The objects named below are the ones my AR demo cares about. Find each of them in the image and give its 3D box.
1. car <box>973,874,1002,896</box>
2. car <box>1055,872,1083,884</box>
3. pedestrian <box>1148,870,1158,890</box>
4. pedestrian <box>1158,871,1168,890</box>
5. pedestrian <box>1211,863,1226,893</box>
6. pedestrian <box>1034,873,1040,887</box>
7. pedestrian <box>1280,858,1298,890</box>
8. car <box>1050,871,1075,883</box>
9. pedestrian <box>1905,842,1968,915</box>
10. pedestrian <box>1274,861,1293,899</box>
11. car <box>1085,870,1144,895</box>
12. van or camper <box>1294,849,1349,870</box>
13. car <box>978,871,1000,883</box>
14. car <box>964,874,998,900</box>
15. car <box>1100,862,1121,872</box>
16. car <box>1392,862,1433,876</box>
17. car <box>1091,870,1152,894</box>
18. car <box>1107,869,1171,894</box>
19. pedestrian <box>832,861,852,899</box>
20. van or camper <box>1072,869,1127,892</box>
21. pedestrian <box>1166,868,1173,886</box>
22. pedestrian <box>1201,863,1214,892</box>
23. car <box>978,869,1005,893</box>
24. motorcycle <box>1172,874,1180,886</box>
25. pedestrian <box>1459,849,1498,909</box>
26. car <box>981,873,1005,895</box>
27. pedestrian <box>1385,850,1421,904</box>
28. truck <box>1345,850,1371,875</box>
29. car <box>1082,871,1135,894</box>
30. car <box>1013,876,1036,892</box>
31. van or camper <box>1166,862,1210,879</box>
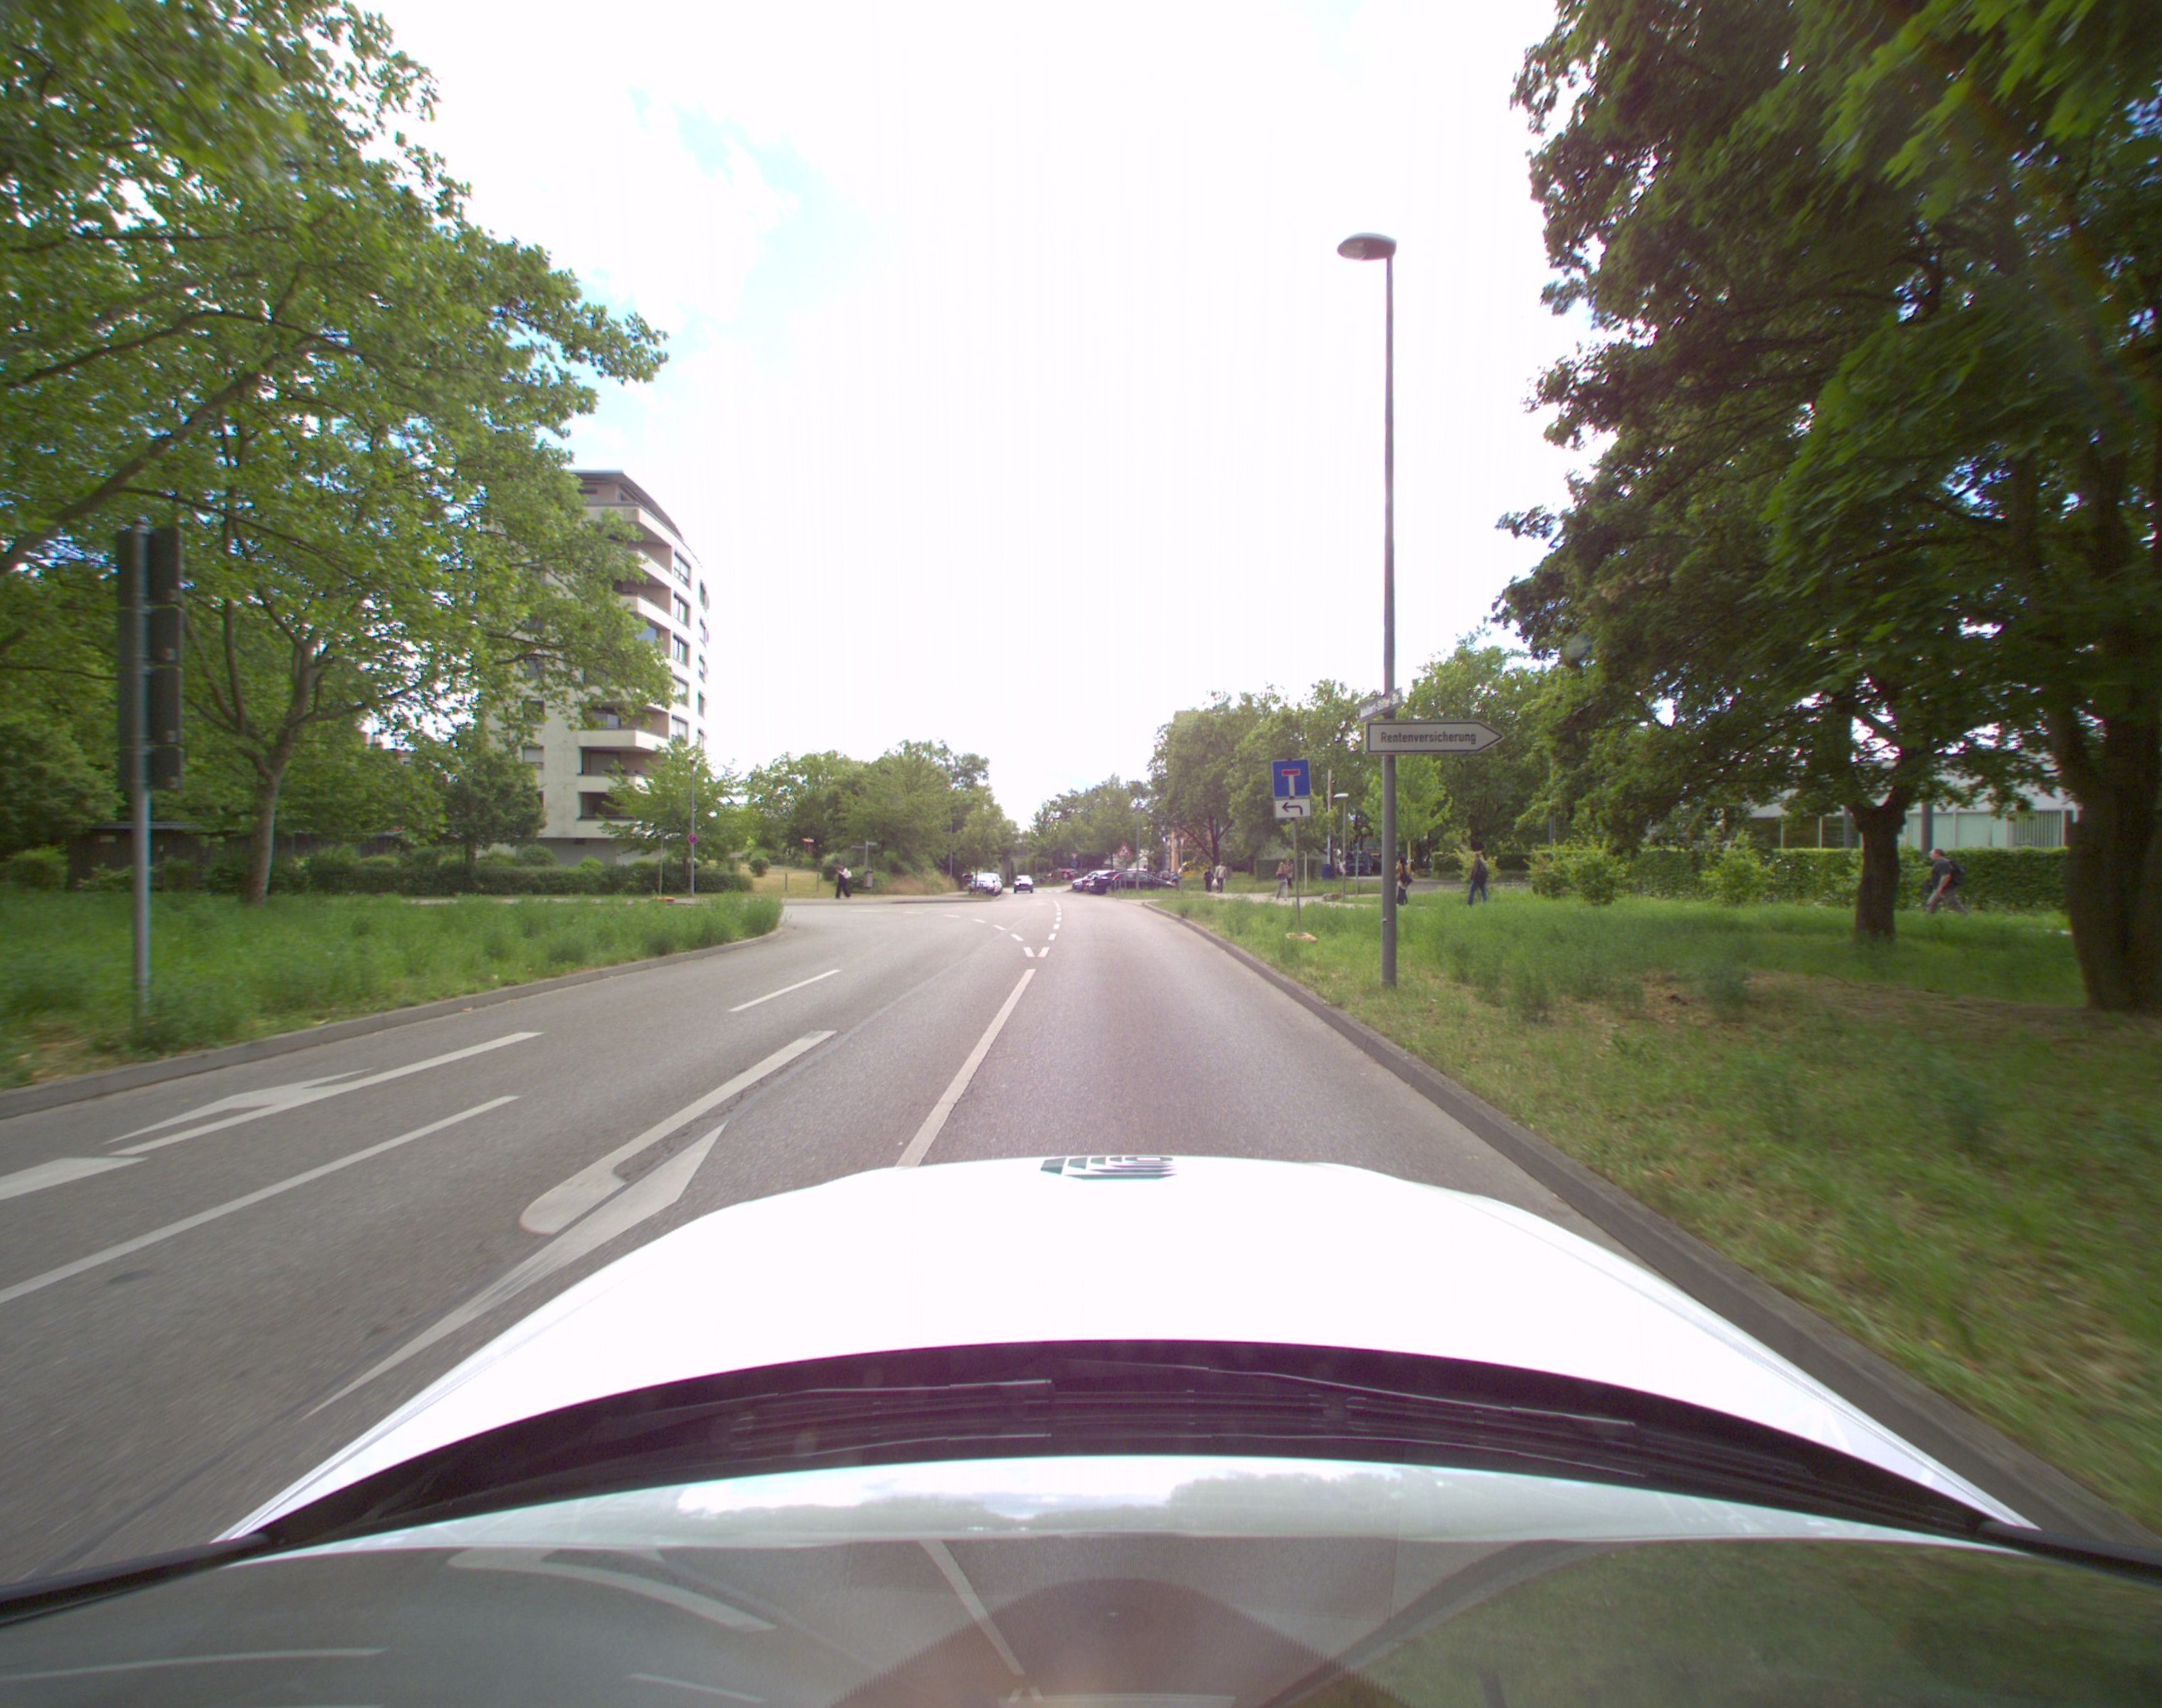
[{"bbox_3d":[-6.607,2.179,57.816,1.761,1.500,3.931,-1,-1,-2],"label":"car"},{"bbox_3d":[-1.593,3.290,112.287,3.550,1.564,1.611,1,-1,-19],"label":"car"},{"bbox_3d":[5.501,1.968,62.528,0.687,1.504,0.753,0,-1,1],"label":"pedestrian"},{"bbox_3d":[6.295,2.014,62.541,0.687,1.424,0.753,0,-1,1],"label":"pedestrian"},{"bbox_3d":[7.992,1.372,47.365,0.796,1.722,0.825,0,1,9],"label":"pedestrian"},{"bbox_3d":[-5.843,3.469,108.319,0.721,1.864,0.648,-1,1,-10],"label":"pedestrian"},{"bbox_3d":[11.145,1.067,43.627,0.767,1.694,0.828,0,1,29],"label":"pedestrian"},{"bbox_3d":[-2.683,3.332,118.923,3.536,1.654,1.617,1,-1,-7],"label":"car"},{"bbox_3d":[17.572,0.490,16.729,0.837,1.452,0.691,0,1,-30],"label":"pedestrian"},{"bbox_3d":[8.708,1.117,35.011,0.769,1.596,0.826,0,1,14],"label":"pedestrian"},{"bbox_3d":[2.284,1.945,55.822,3.908,1.631,1.771,-1,-3,1],"label":"car"},{"bbox_3d":[22.507,0.483,76.176,4.628,1.914,1.783,0,1,30],"label":"van or camper"},{"bbox_3d":[-10.294,2.546,91.349,1.209,1.337,2.576,1,-1,-40],"label":"car"},{"bbox_3d":[-6.426,2.124,52.631,1.761,1.500,3.932,-1,0,-2],"label":"car"},{"bbox_3d":[5.338,2.392,148.592,3.550,1.654,1.611,1,-1,-19],"label":"car"},{"bbox_3d":[37.387,1.662,91.907,3.908,1.500,1.772,-1,1,1],"label":"car"},{"bbox_3d":[2.621,1.861,53.092,3.908,1.501,1.771,-1,-3,1],"label":"car"},{"bbox_3d":[3.609,1.747,50.848,3.908,1.469,1.771,-1,-3,1],"label":"car"},{"bbox_3d":[-11.029,1.188,37.532,0.823,1.722,0.771,0,1,-21],"label":"pedestrian"},{"bbox_3d":[1.619,2.330,72.467,4.668,1.870,1.767,-1,1,-7],"label":"van or camper"},{"bbox_3d":[6.059,1.574,55.780,0.393,1.152,0.486,0,1,10],"label":"pedestrian"},{"bbox_3d":[7.642,1.399,49.235,0.770,1.722,0.825,0,1,9],"label":"pedestrian"},{"bbox_3d":[-6.954,2.056,63.560,1.761,1.753,3.931,-1,-1,-2],"label":"car"},{"bbox_3d":[6.447,1.773,55.429,0.450,0.794,1.267,0,1,10],"label":"motorcycle"},{"bbox_3d":[11.648,0.729,23.893,0.771,1.722,0.824,0,1,5],"label":"pedestrian"},{"bbox_3d":[-7.451,2.542,69.541,1.733,1.711,4.078,-1,-1,-2],"label":"car"},{"bbox_3d":[10.594,0.733,26.829,0.776,1.722,0.819,0,1,-16],"label":"pedestrian"},{"bbox_3d":[27.623,0.819,81.100,2.307,2.295,5.924,1,1,20],"label":"truck"},{"bbox_3d":[2.056,2.128,60.893,3.908,1.630,1.772,-1,1,1],"label":"car"},{"bbox_3d":[-5.374,2.853,77.763,1.969,1.464,3.931,-1,-1,-2],"label":"car"},{"bbox_3d":[13.604,2.041,103.382,5.281,2.041,2.058,-1,1,-4],"label":"van or camper"}]
